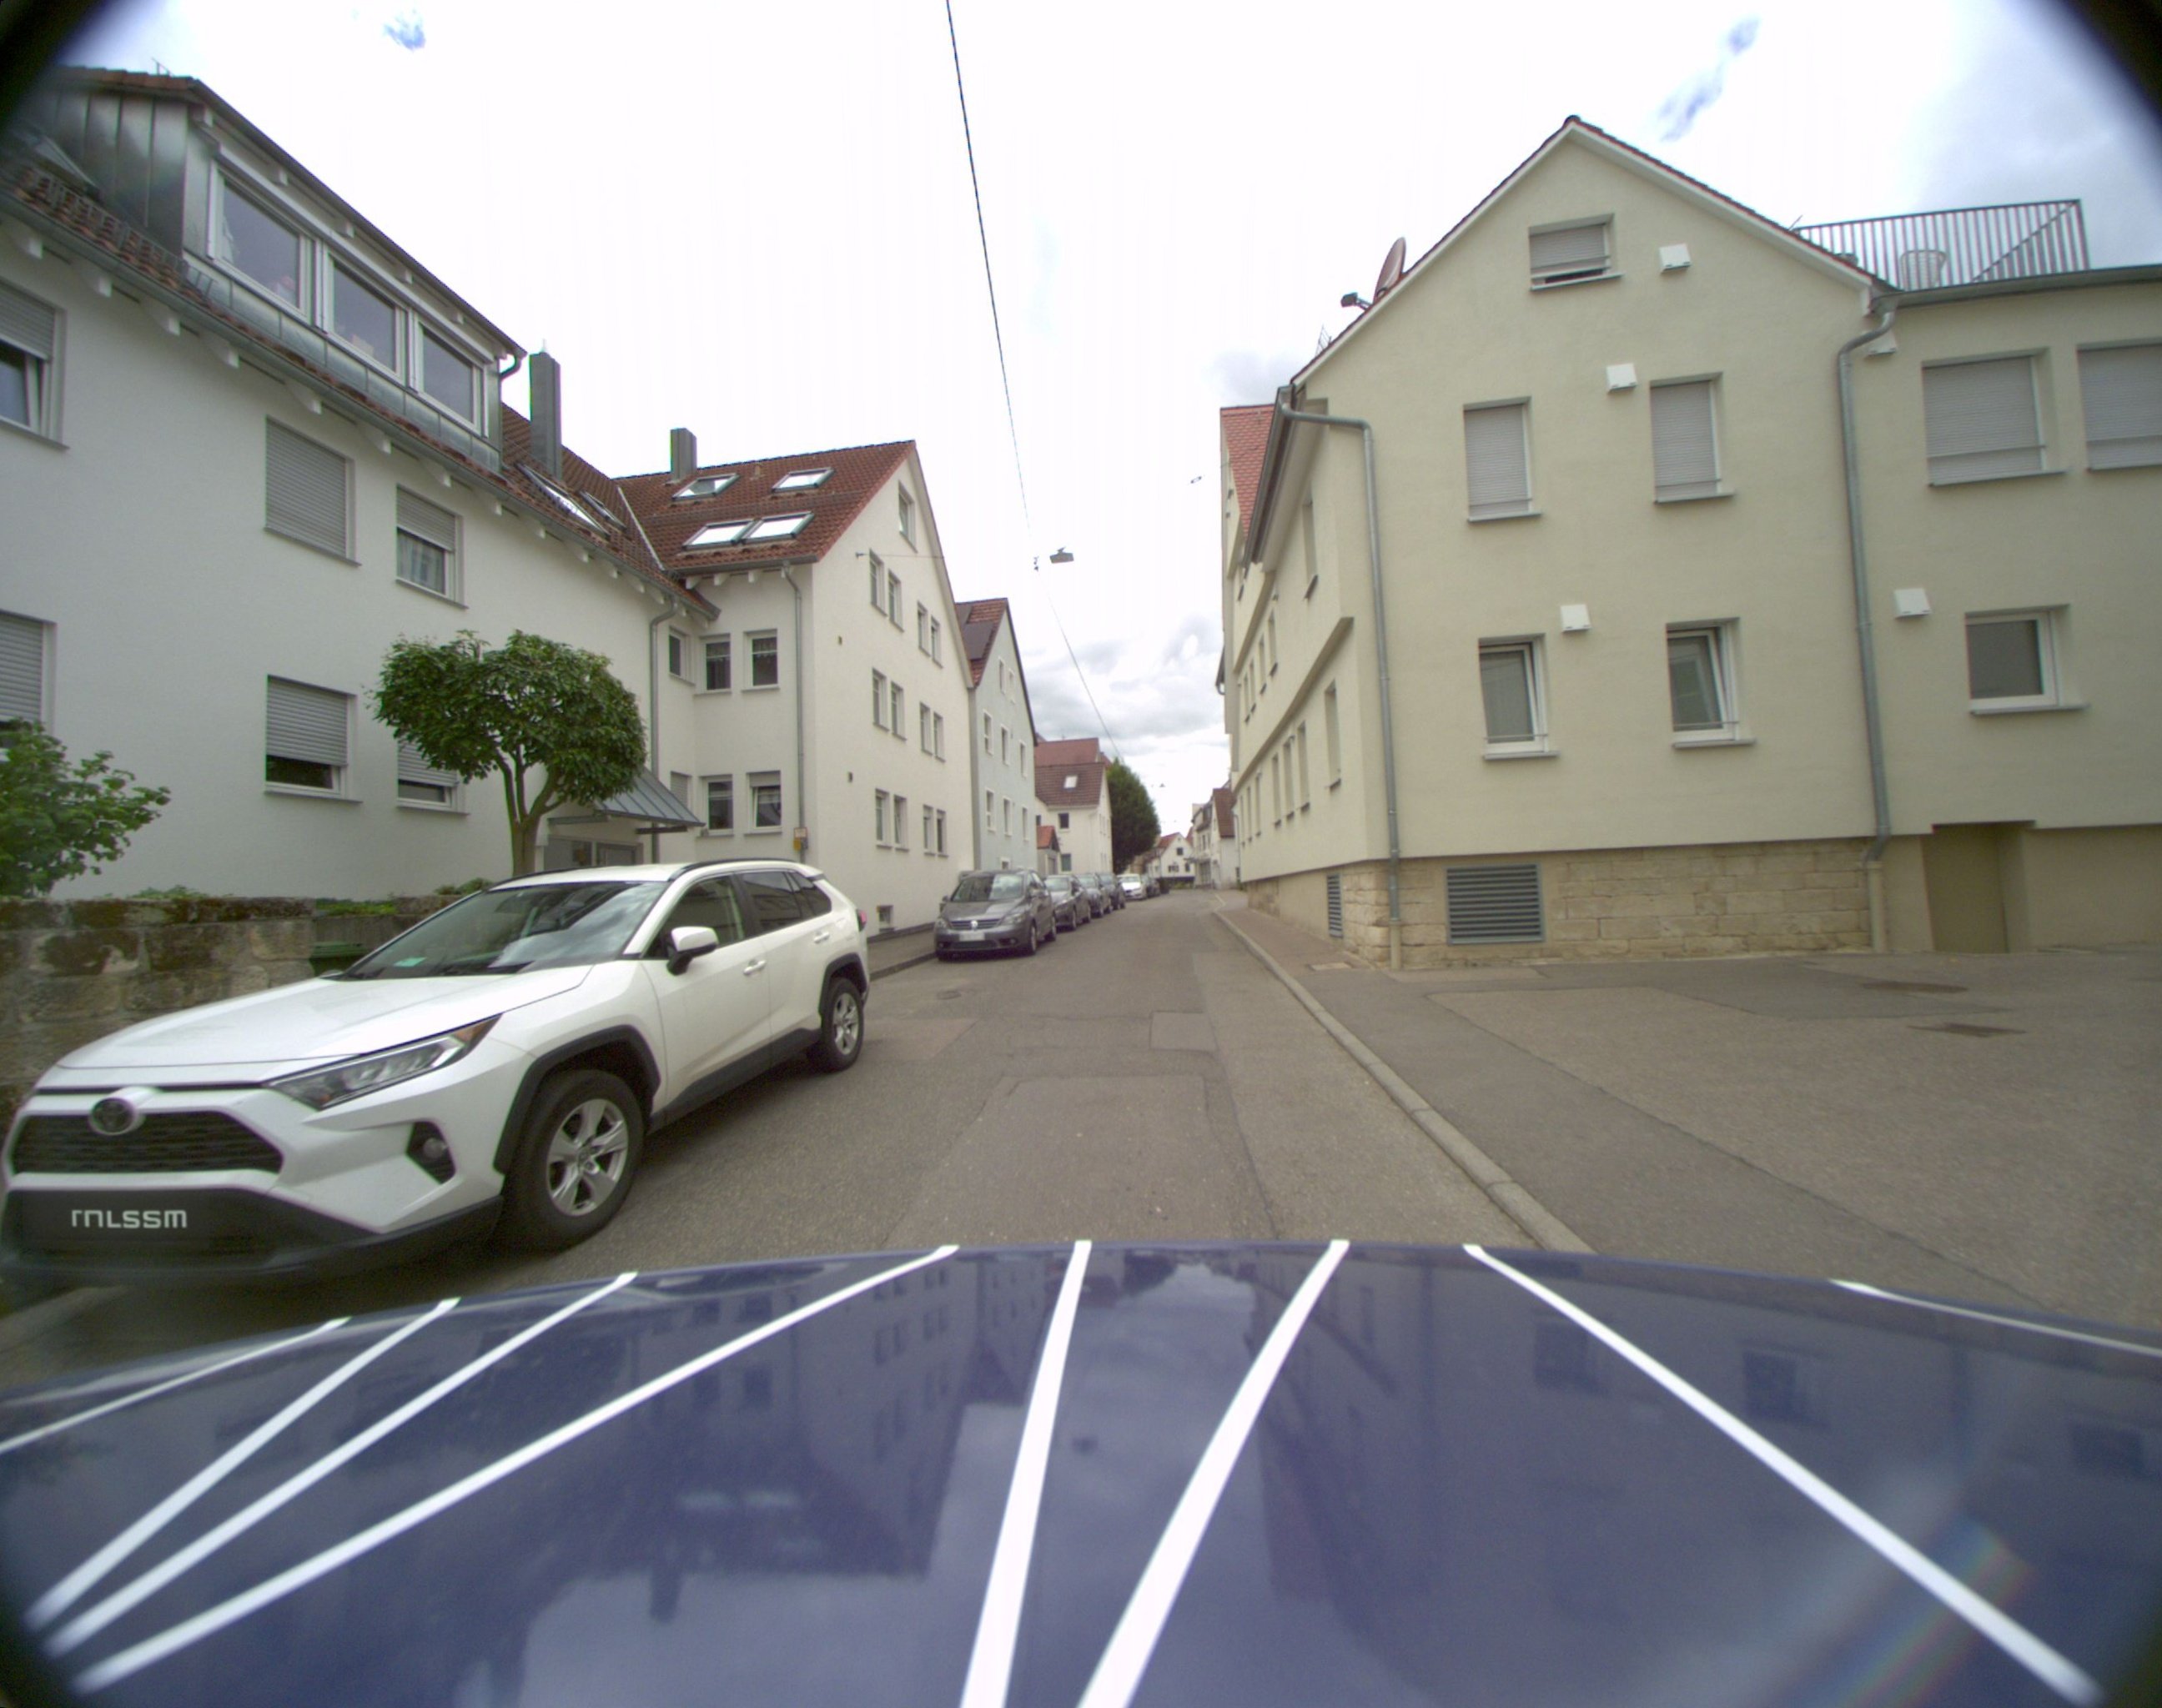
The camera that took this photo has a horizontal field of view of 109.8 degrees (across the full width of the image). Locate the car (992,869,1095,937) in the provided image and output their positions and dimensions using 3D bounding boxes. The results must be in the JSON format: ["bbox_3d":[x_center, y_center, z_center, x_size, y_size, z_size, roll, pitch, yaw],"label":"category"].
[{"bbox_3d":[-0.862,1.211,19.953,1.811,1.434,3.961,-4,-1,9],"label":"car"}]

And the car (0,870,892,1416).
[{"bbox_3d":[-2.955,0.992,4.647,1.950,1.630,4.463,-4,-1,7],"label":"car"}]

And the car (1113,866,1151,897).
[{"bbox_3d":[2.950,1.558,43.078,1.770,1.553,4.044,-4,-2,7],"label":"car"}]

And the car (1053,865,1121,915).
[{"bbox_3d":[0.300,1.177,25.716,1.729,1.434,4.268,-4,-2,7],"label":"car"}]

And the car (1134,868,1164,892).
[{"bbox_3d":[5.045,1.907,55.814,1.769,1.583,4.044,-4,-1,9],"label":"car"}]

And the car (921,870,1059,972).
[{"bbox_3d":[-1.591,1.167,14.665,1.739,1.554,3.910,-4,-1,5],"label":"car"}]

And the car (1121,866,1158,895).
[{"bbox_3d":[3.787,1.674,48.579,1.769,1.610,4.286,-4,-2,10],"label":"car"}]

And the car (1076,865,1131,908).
[{"bbox_3d":[0.952,1.270,30.020,1.642,1.502,3.844,-4,-2,8],"label":"car"}]
